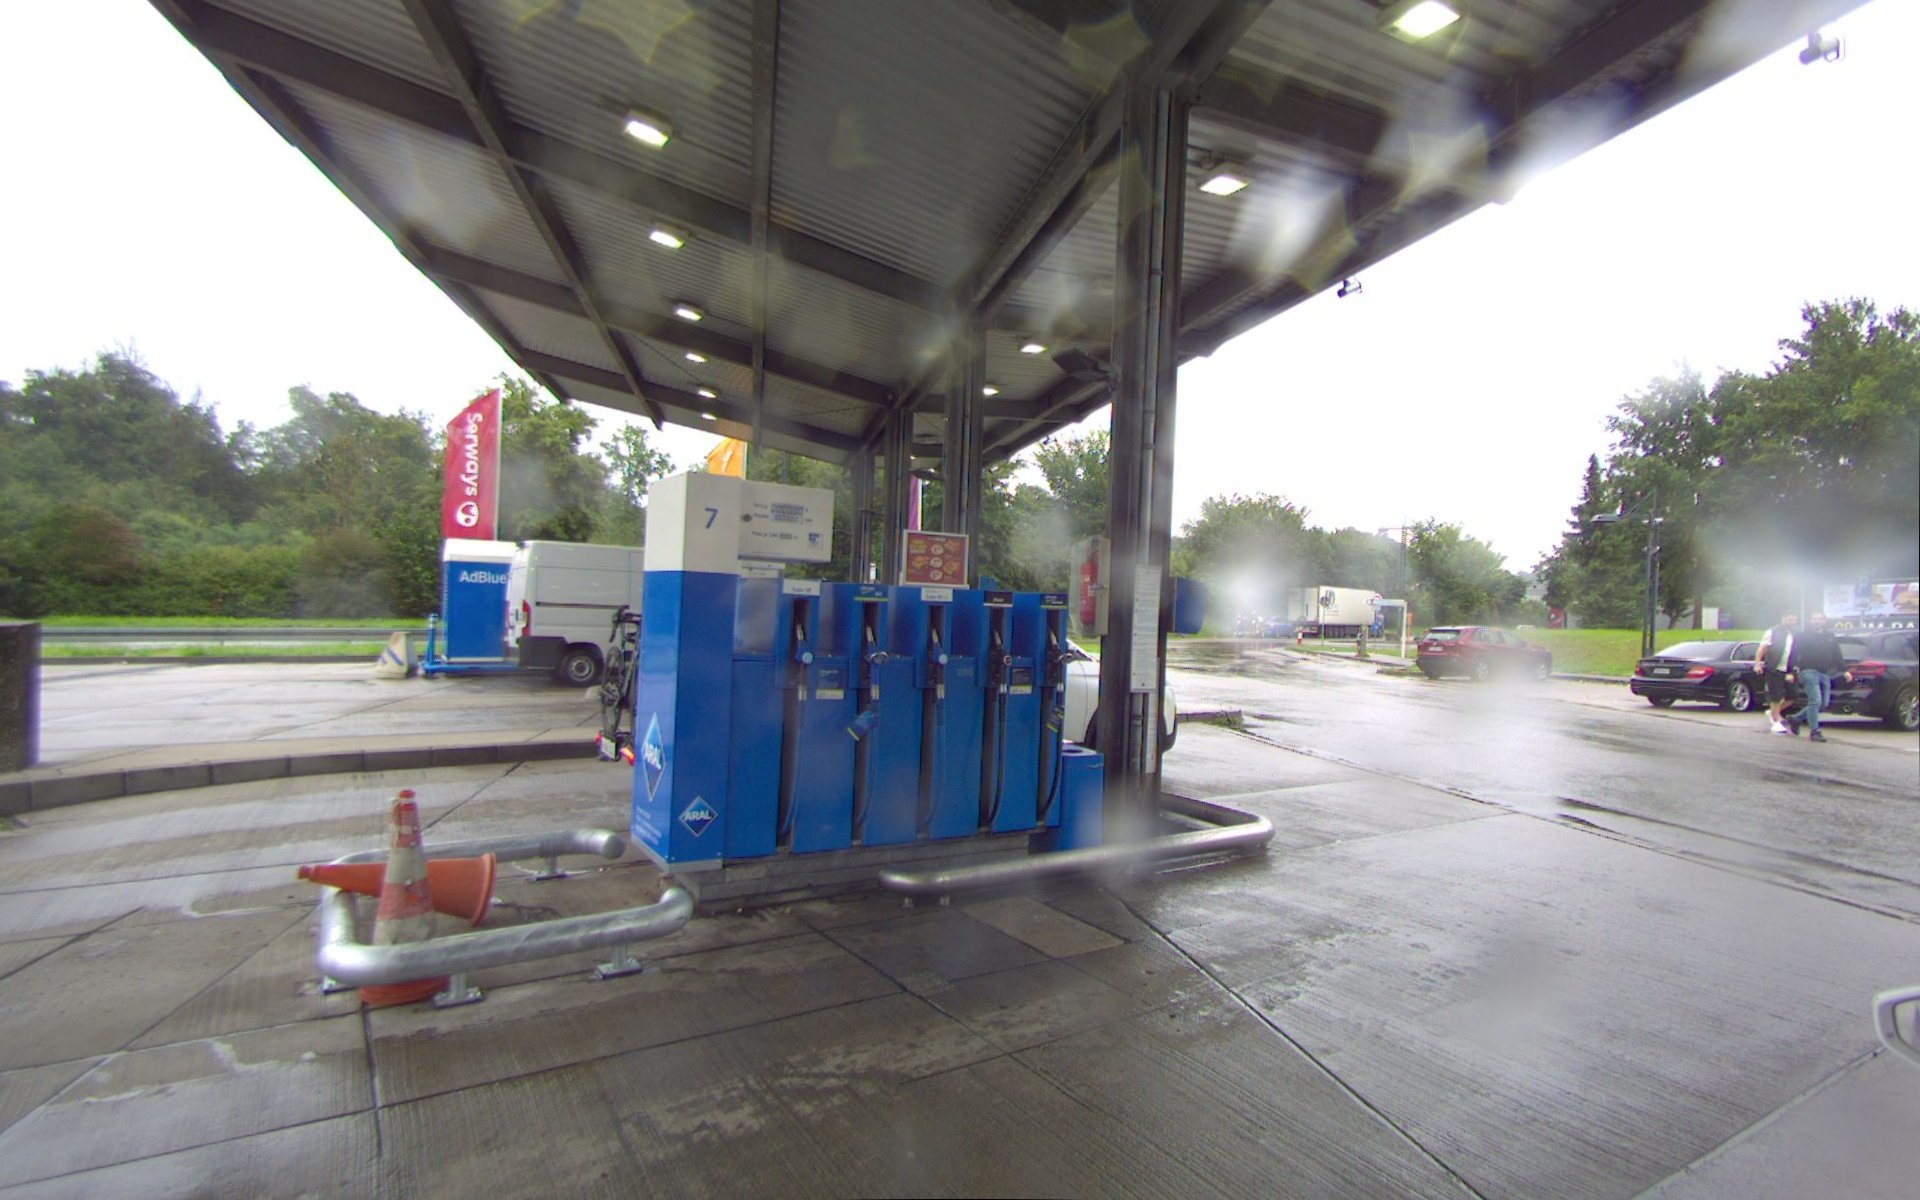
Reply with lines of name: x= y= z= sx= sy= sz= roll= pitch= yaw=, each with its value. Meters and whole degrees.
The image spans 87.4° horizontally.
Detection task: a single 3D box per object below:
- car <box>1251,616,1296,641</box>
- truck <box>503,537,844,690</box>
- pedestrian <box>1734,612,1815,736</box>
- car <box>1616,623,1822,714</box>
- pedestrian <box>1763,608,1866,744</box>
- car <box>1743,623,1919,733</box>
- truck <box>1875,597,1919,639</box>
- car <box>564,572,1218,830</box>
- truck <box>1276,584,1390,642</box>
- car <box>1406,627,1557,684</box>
car: x=22.923 y=2.065 z=73.436 sx=1.787 sy=1.704 sz=3.934 roll=2 pitch=0 yaw=40
truck: x=-5.324 y=0.294 z=18.943 sx=5.793 sy=2.527 sz=2.221 roll=2 pitch=0 yaw=-30
pedestrian: x=13.121 y=1.157 z=16.208 sx=0.690 sy=1.912 sz=0.954 roll=2 pitch=0 yaw=20
car: x=15.956 y=1.358 z=21.091 sx=4.293 sy=1.734 sz=2.007 roll=1 pitch=-2 yaw=-31
pedestrian: x=12.563 y=1.091 z=14.794 sx=0.690 sy=1.912 sz=0.893 roll=2 pitch=0 yaw=-2
car: x=16.186 y=1.272 z=17.468 sx=4.274 sy=1.734 sz=2.016 roll=1 pitch=-1 yaw=-18
truck: x=68.874 y=1.325 z=71.695 sx=5.285 sy=2.959 sz=2.191 roll=2 pitch=0 yaw=-5
car: x=-0.412 y=0.701 z=8.460 sx=5.210 sy=1.629 sz=1.852 roll=2 pitch=0 yaw=-30
truck: x=31.900 y=1.189 z=85.150 sx=3.498 sy=4.397 sz=16.922 roll=2 pitch=0 yaw=40
car: x=16.092 y=1.671 z=31.002 sx=4.283 sy=1.666 sz=1.933 roll=1 pitch=-2 yaw=-25
